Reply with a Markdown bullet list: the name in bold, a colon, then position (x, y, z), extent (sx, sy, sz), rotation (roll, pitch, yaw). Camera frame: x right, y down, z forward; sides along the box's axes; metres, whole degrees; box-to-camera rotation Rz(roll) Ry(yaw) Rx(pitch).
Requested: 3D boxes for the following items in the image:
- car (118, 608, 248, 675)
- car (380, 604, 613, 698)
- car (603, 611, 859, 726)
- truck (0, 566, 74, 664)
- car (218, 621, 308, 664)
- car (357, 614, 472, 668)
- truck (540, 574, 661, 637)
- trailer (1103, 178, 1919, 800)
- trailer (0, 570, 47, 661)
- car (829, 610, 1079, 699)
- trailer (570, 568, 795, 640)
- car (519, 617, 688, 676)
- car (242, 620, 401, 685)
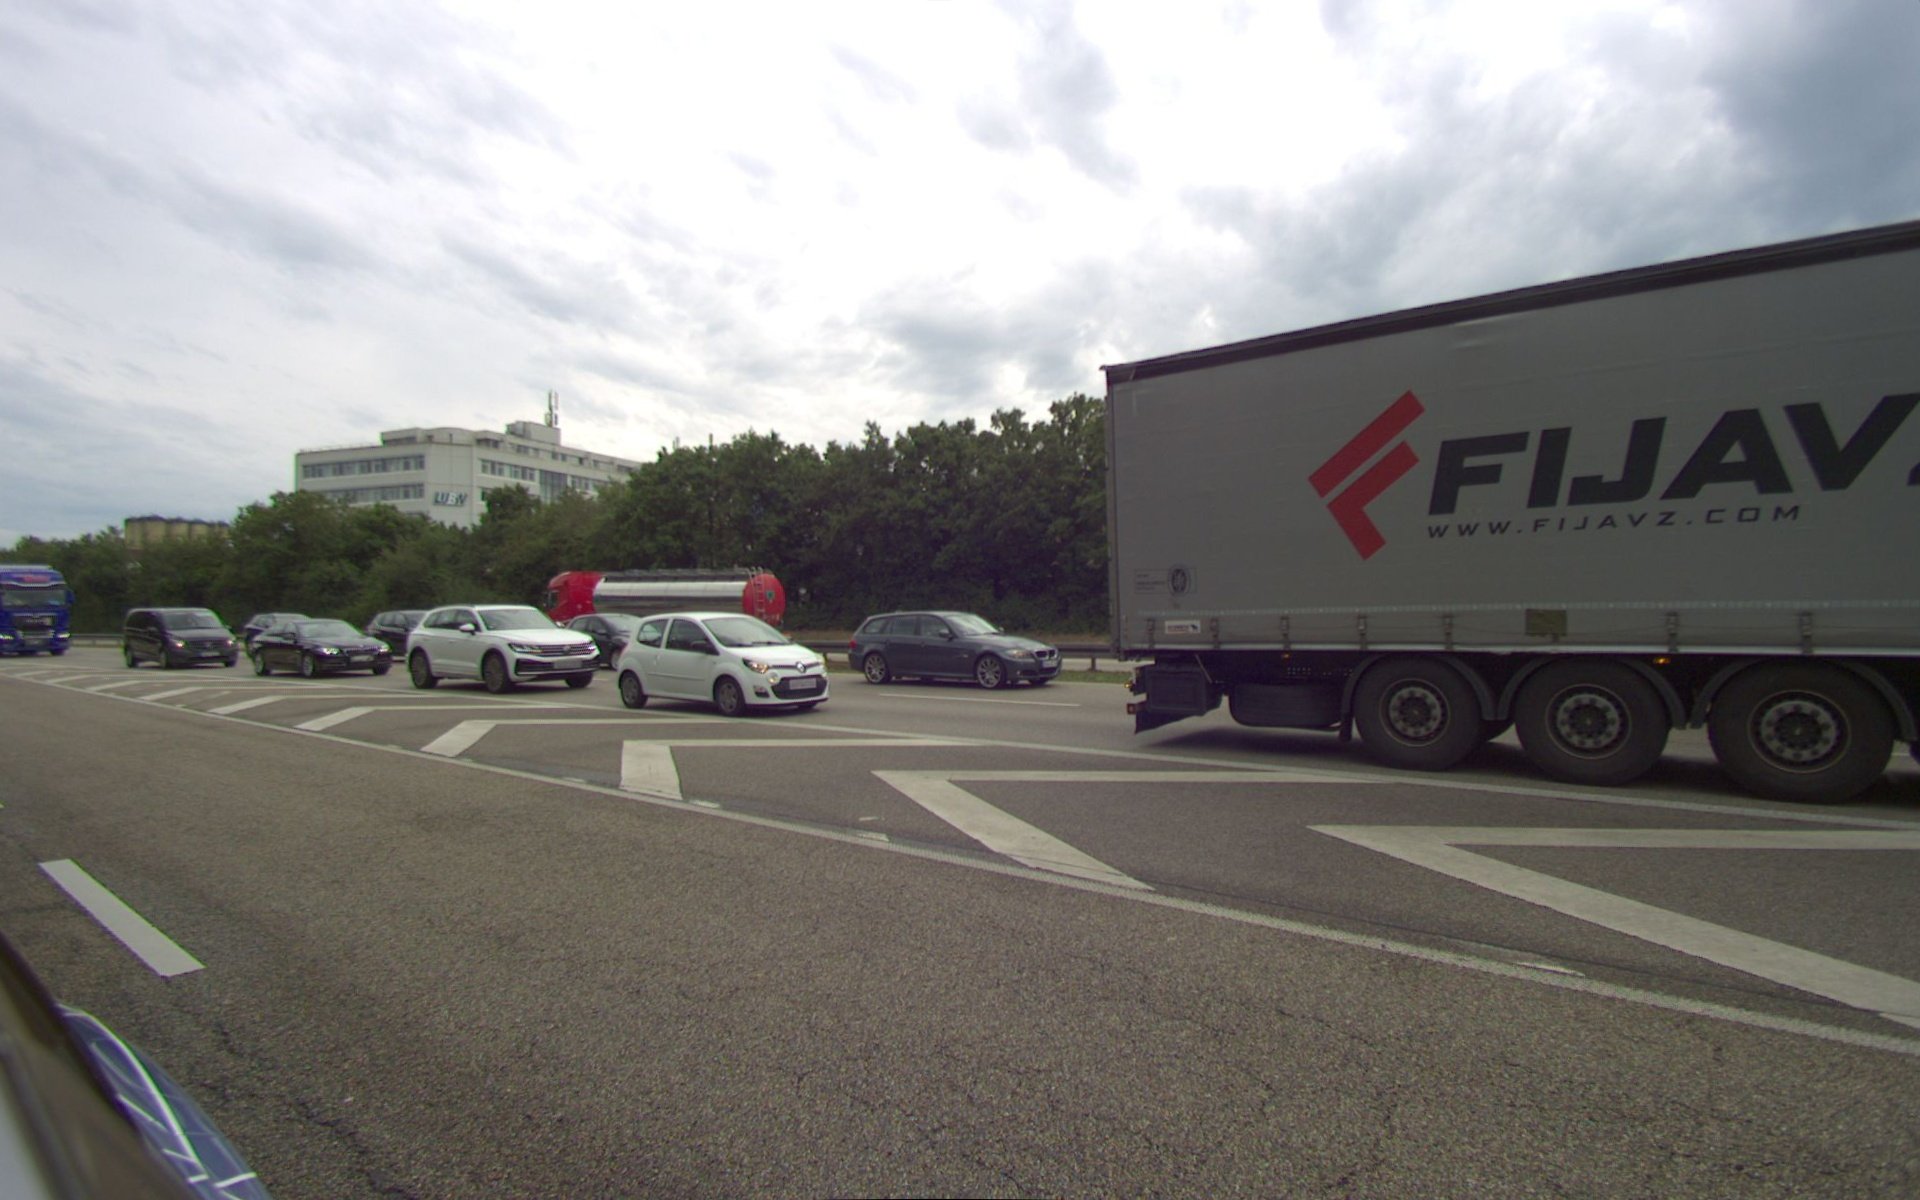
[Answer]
- **car**: position (-24.774, 1.299, 32.215), extent (5.070, 1.920, 1.975), rotation (-2, 0, 37)
- **car**: position (-9.396, 0.964, 20.318), extent (5.369, 1.673, 1.893), rotation (-1, -1, 36)
- **car**: position (-3.507, 0.945, 15.112), extent (4.031, 1.502, 1.562), rotation (-2, -2, 38)
- **truck**: position (-42.396, 0.660, 44.976), extent (6.563, 4.073, 2.543), rotation (-1, 0, 30)
- **car**: position (-27.193, 1.622, 39.476), extent (3.992, 1.586, 1.671), rotation (-1, -1, 36)
- **car**: position (-17.631, 1.313, 32.635), extent (3.990, 1.624, 1.631), rotation (-2, -2, 34)
- **truck**: position (-16.103, 0.261, 45.241), extent (5.679, 2.641, 2.304), rotation (-1, 0, 36)
- **trailer**: position (7.616, -0.746, 7.648), extent (13.080, 4.066, 3.267), rotation (-1, 0, 38)
- **trailer**: position (-48.037, 0.752, 48.559), extent (13.416, 4.053, 2.607), rotation (-1, 0, 32)
- **car**: position (-0.213, 0.945, 19.105), extent (4.695, 1.459, 1.697), rotation (-1, 0, 38)
- **trailer**: position (-11.806, 0.190, 42.063), extent (11.352, 2.691, 2.449), rotation (-1, 0, 36)
- **car**: position (-9.642, 1.223, 27.249), extent (4.799, 1.425, 1.975), rotation (-2, -1, 37)
- **car**: position (-16.552, 1.283, 26.145), extent (4.821, 1.471, 1.831), rotation (-1, 0, 36)
